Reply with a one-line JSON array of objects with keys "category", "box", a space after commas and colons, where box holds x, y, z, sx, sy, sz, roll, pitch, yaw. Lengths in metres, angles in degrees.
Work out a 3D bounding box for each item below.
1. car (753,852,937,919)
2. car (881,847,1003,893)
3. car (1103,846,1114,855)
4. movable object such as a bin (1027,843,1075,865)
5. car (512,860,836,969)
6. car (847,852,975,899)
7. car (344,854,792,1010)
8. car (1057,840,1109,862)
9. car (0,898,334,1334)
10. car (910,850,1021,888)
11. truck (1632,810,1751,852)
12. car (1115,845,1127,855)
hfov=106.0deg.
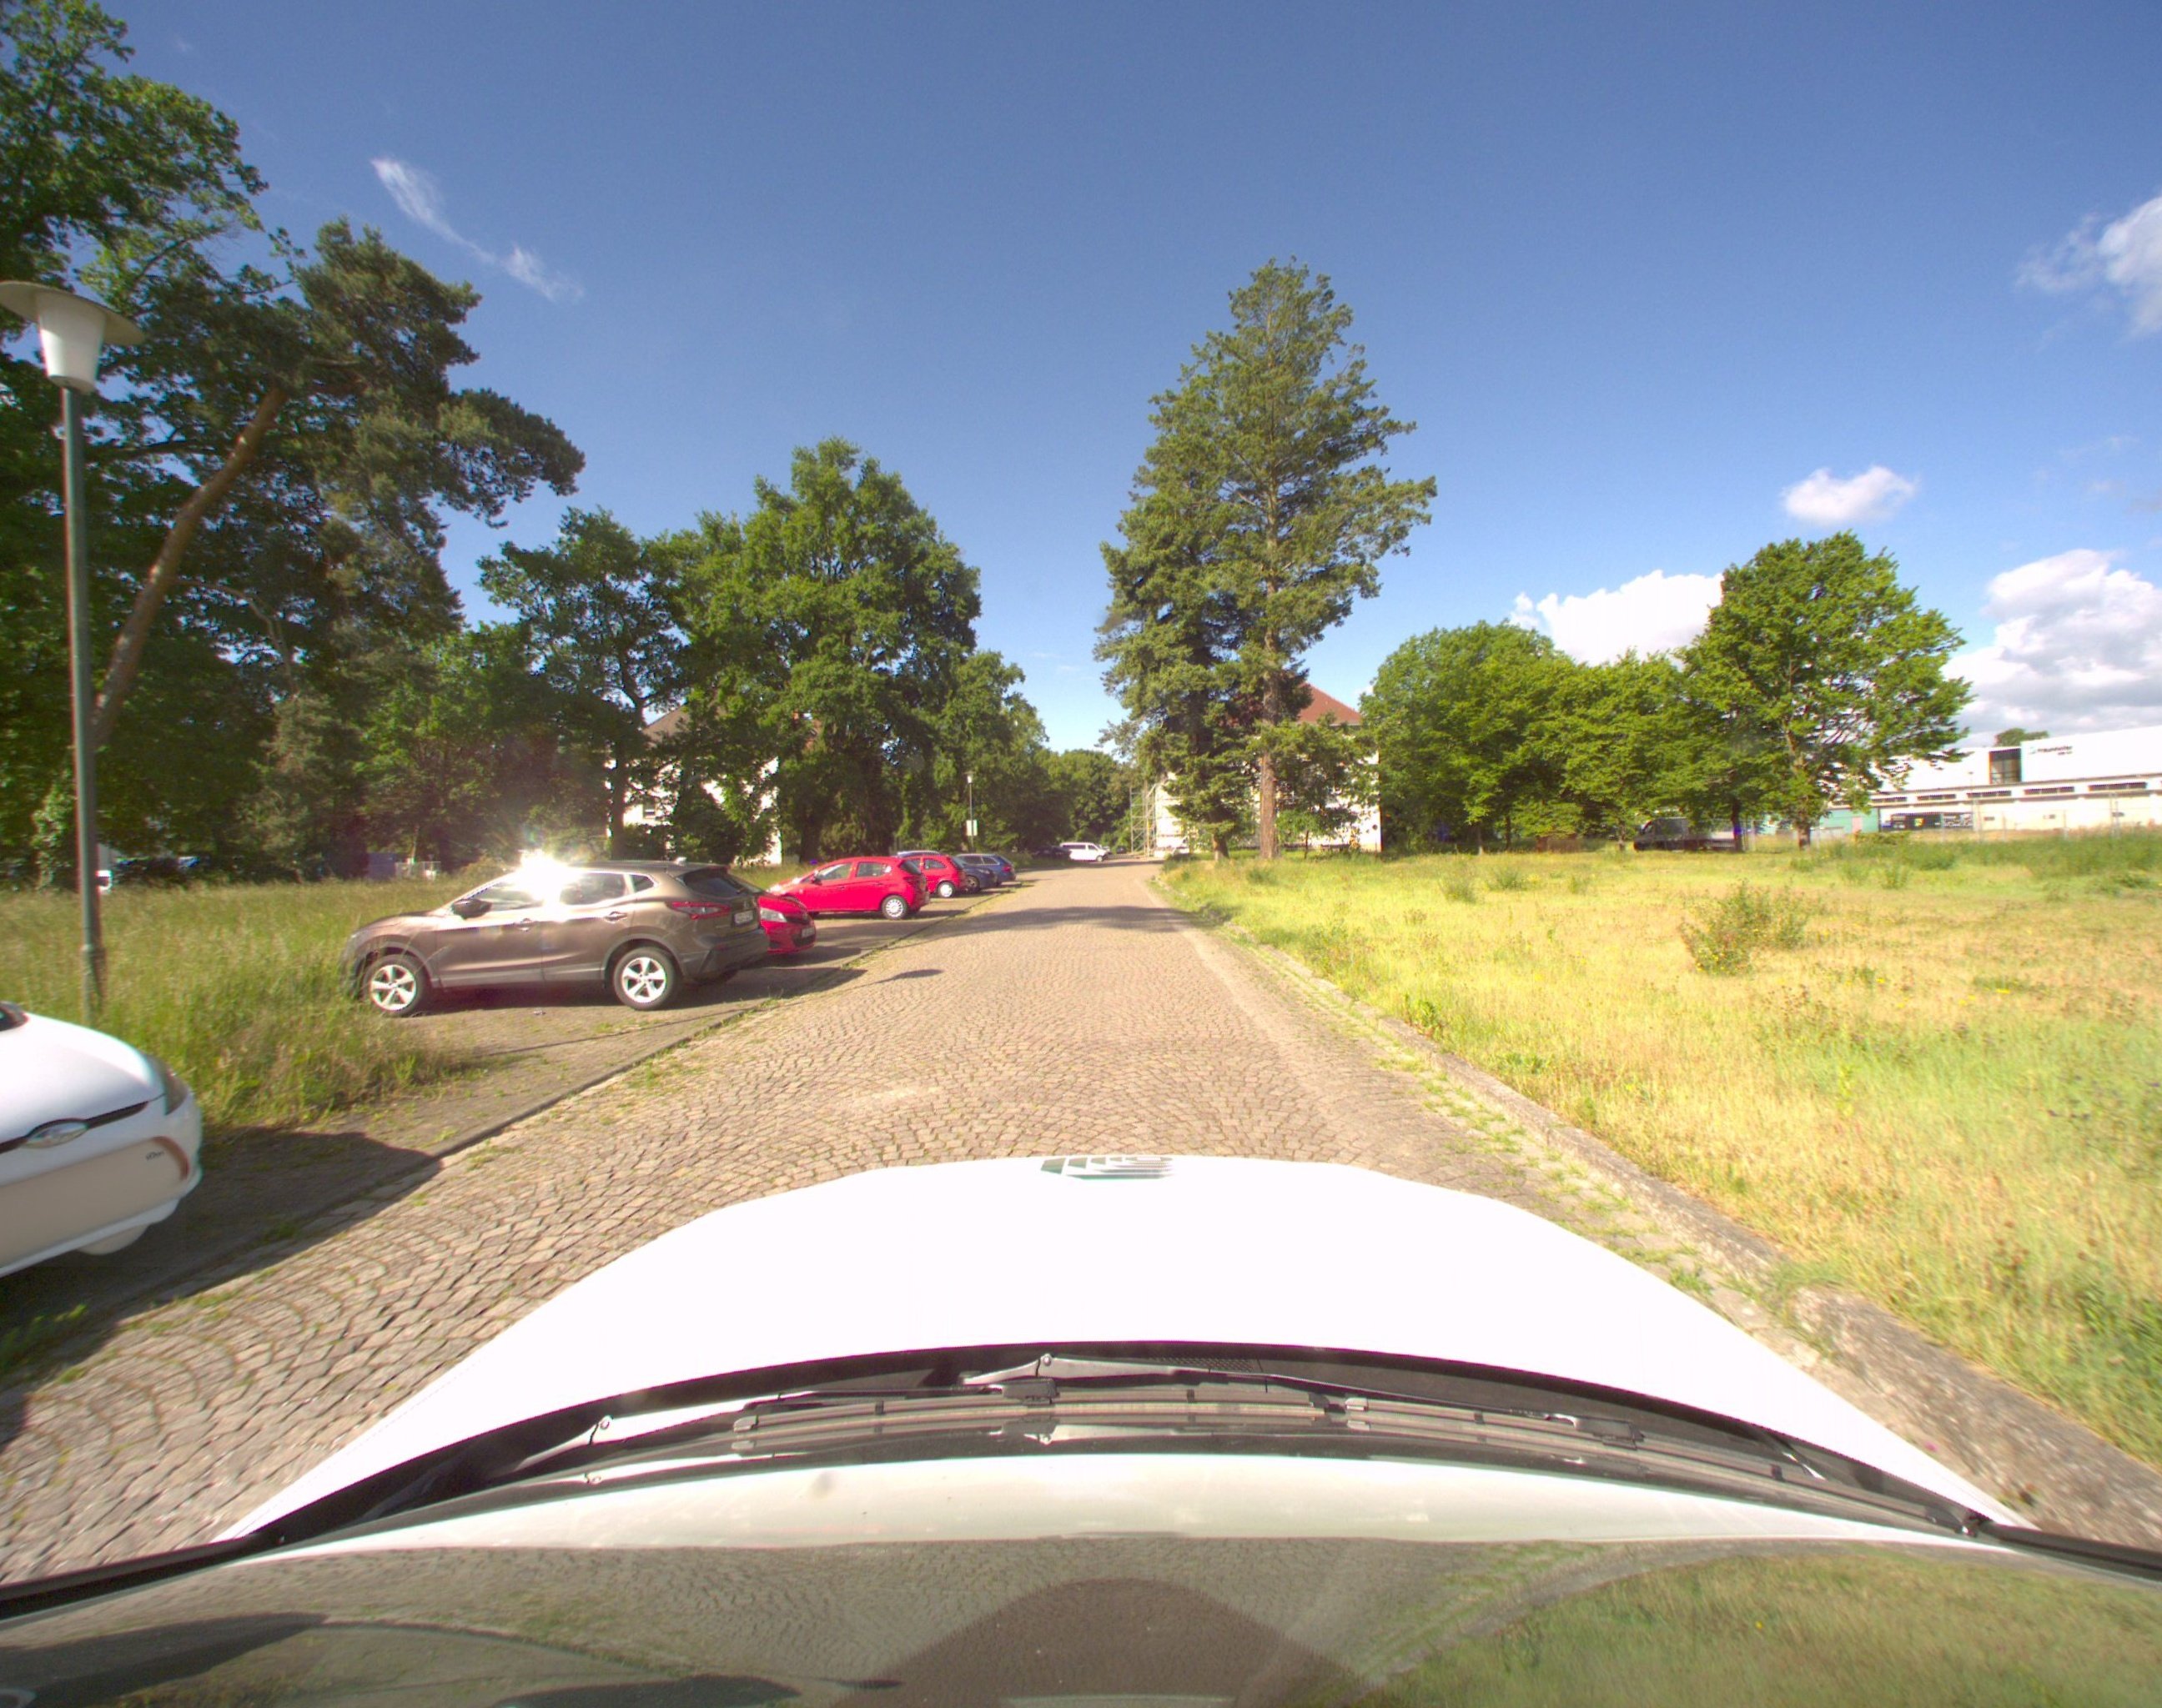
[{"category": "car", "box": [-5.645, 0.733, 19.883, 3.911, 1.461, 1.842, -1, 1, 0]}, {"category": "car", "box": [-5.066, 0.569, 30.161, 4.120, 1.579, 1.885, -1, 1, 1]}, {"category": "car", "box": [5.004, -0.649, 149.621, 1.806, 1.579, 4.136, -2, 0, 1]}, {"category": "movable object such as a bin", "box": [-2.574, 0.032, 70.605, 3.535, 1.744, 2.035, -2, 0, 20]}, {"category": "car", "box": [-5.951, 0.850, 12.291, 3.911, 1.449, 1.866, 0, 1, 0]}, {"category": "car", "box": [-5.737, 0.709, 27.810, 3.907, 1.432, 1.843, -1, 1, 2]}, {"category": "car", "box": [-5.739, 0.822, 9.554, 3.941, 1.567, 1.974, 0, 1, 0]}, {"category": "car", "box": [0.249, -0.309, 83.659, 5.216, 2.016, 1.950, -2, 0, 1]}, {"category": "car", "box": [-5.674, 0.960, 3.217, 3.805, 1.440, 1.682, 0, 0, -2]}, {"category": "car", "box": [-4.876, 0.626, 34.843, 4.340, 1.444, 1.923, -1, 1, 4]}, {"category": "truck", "box": [37.291, -1.347, 50.073, 2.225, 2.423, 6.887, 0, 0, 1]}, {"category": "car", "box": [7.405, -0.794, 149.880, 1.964, 1.668, 4.087, -2, 0, 1]}]
